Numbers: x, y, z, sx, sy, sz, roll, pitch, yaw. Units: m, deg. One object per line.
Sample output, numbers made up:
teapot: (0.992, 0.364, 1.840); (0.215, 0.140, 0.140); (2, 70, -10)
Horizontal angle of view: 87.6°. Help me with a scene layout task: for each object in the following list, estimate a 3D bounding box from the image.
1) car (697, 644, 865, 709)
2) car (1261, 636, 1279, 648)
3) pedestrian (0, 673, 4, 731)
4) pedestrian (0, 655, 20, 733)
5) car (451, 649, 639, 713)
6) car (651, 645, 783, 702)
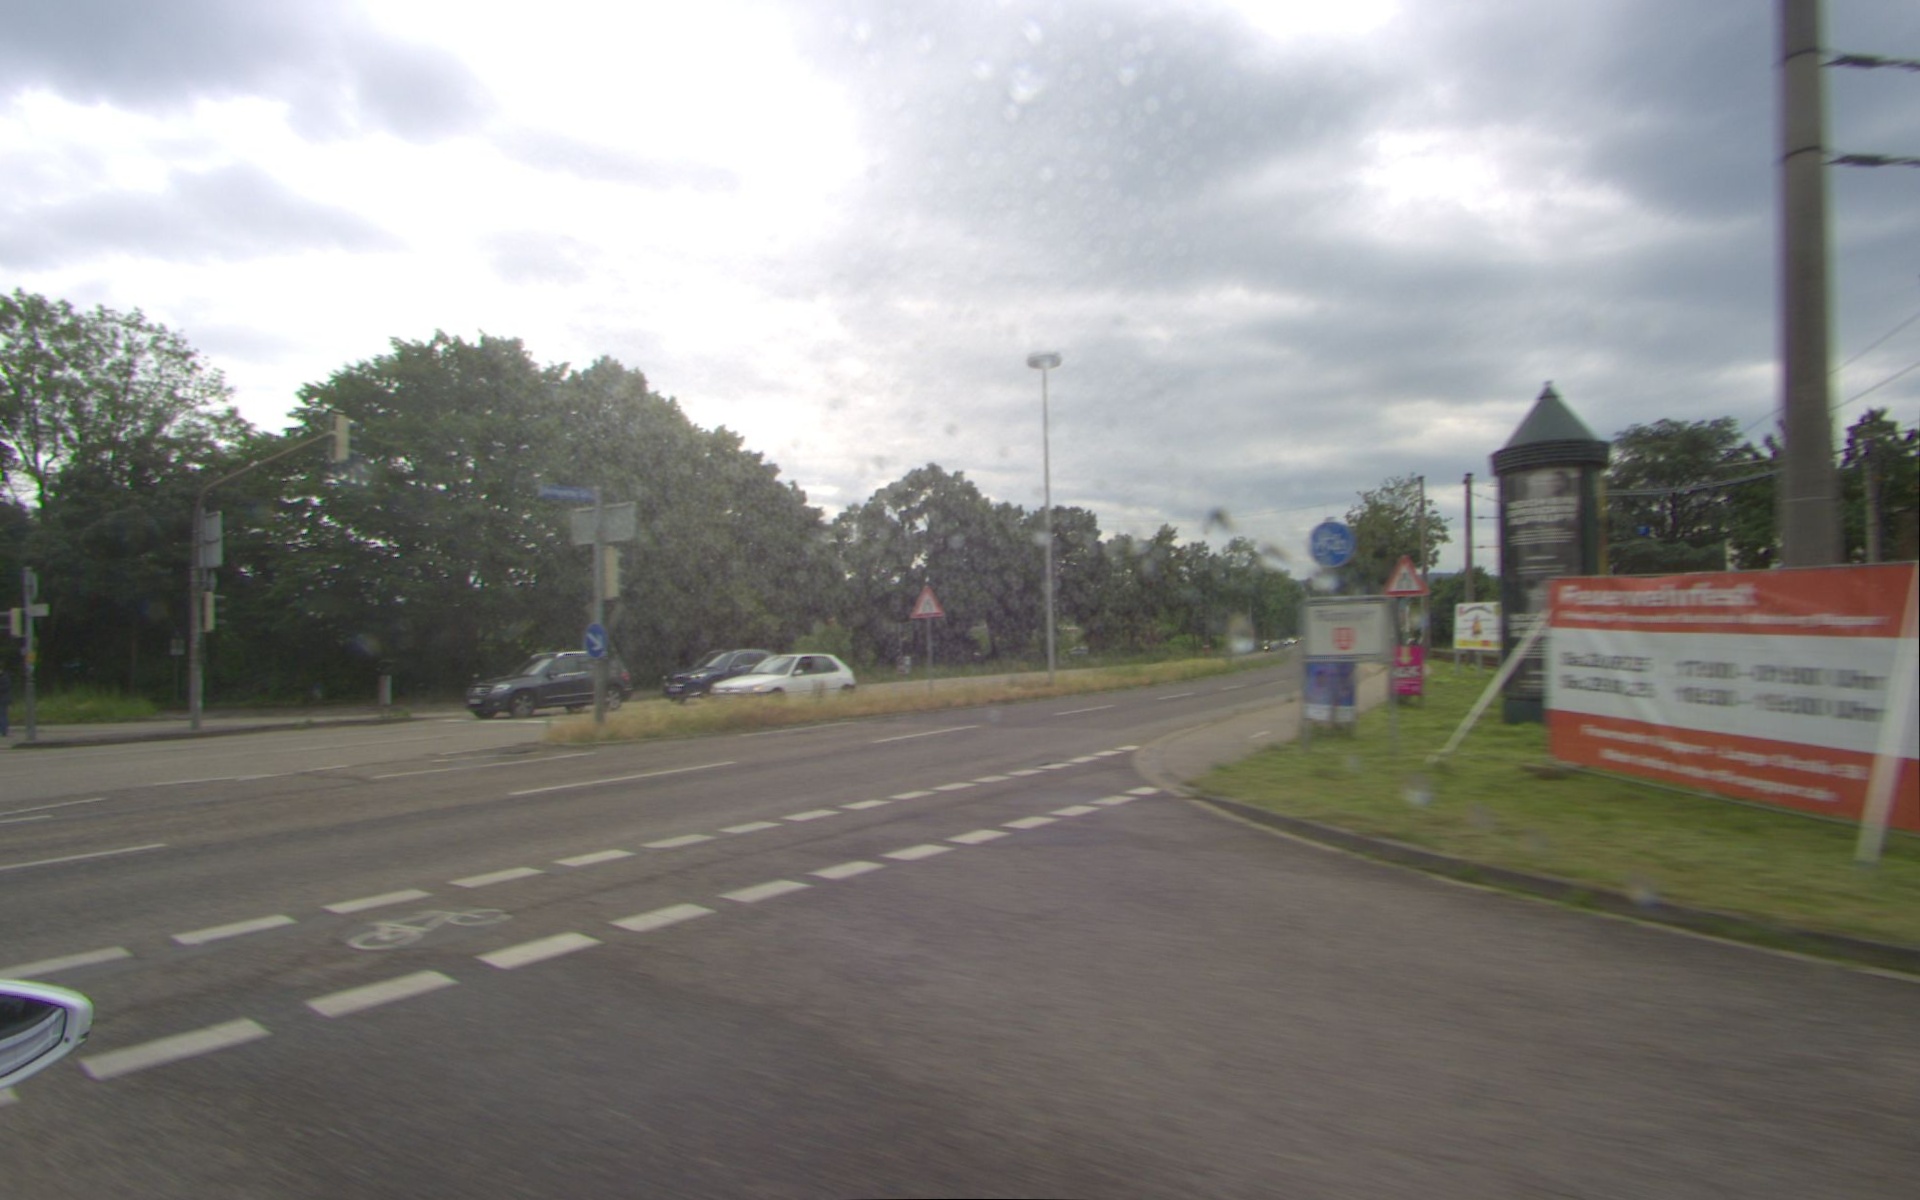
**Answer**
car: (-4.199, 1.789, 24.073); (1.624, 1.374, 4.130); (-3, -3, 32)
car: (41.009, 5.550, 132.403); (1.635, 1.549, 3.879); (-3, -3, 25)
pedestrian: (-22.622, 2.378, 23.228); (0.517, 1.358, 0.526); (-3, -2, 31)
pedestrian: (-22.095, 2.156, 22.995); (0.452, 1.772, 0.656); (-2, -2, 31)
car: (-11.057, 2.120, 26.994); (1.820, 1.522, 4.457); (-3, -3, 32)
car: (-7.675, 2.304, 31.981); (1.851, 1.638, 3.983); (-3, -3, 30)
